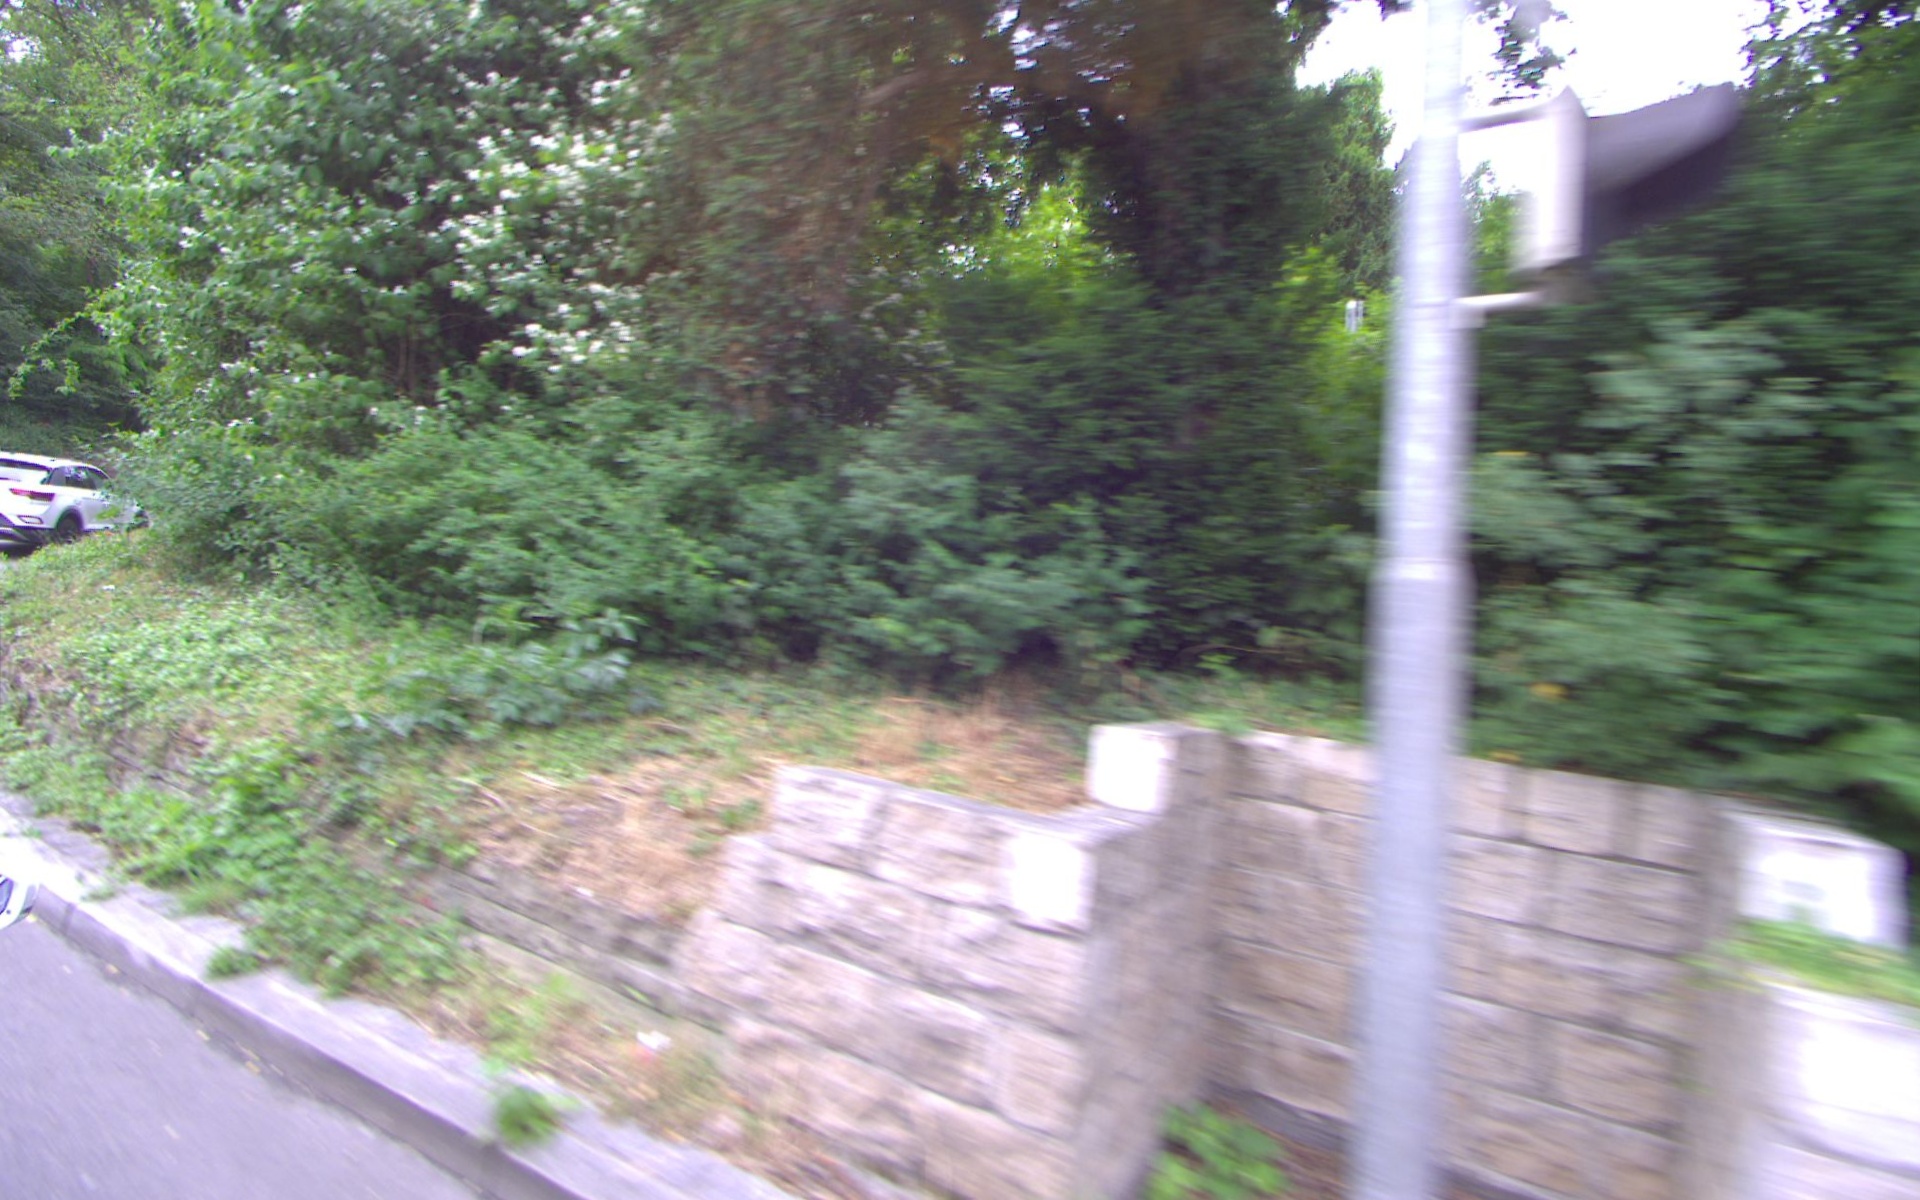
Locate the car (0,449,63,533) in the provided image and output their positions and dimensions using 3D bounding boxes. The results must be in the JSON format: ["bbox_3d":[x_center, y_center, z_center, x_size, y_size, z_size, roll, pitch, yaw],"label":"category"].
[{"bbox_3d":[-19.820,-2.287,19.501,1.838,1.625,4.649,8,0,-19],"label":"car"}]

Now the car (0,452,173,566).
[{"bbox_3d":[-15.160,-1.555,16.794,1.735,1.572,4.315,8,2,-19],"label":"car"}]
